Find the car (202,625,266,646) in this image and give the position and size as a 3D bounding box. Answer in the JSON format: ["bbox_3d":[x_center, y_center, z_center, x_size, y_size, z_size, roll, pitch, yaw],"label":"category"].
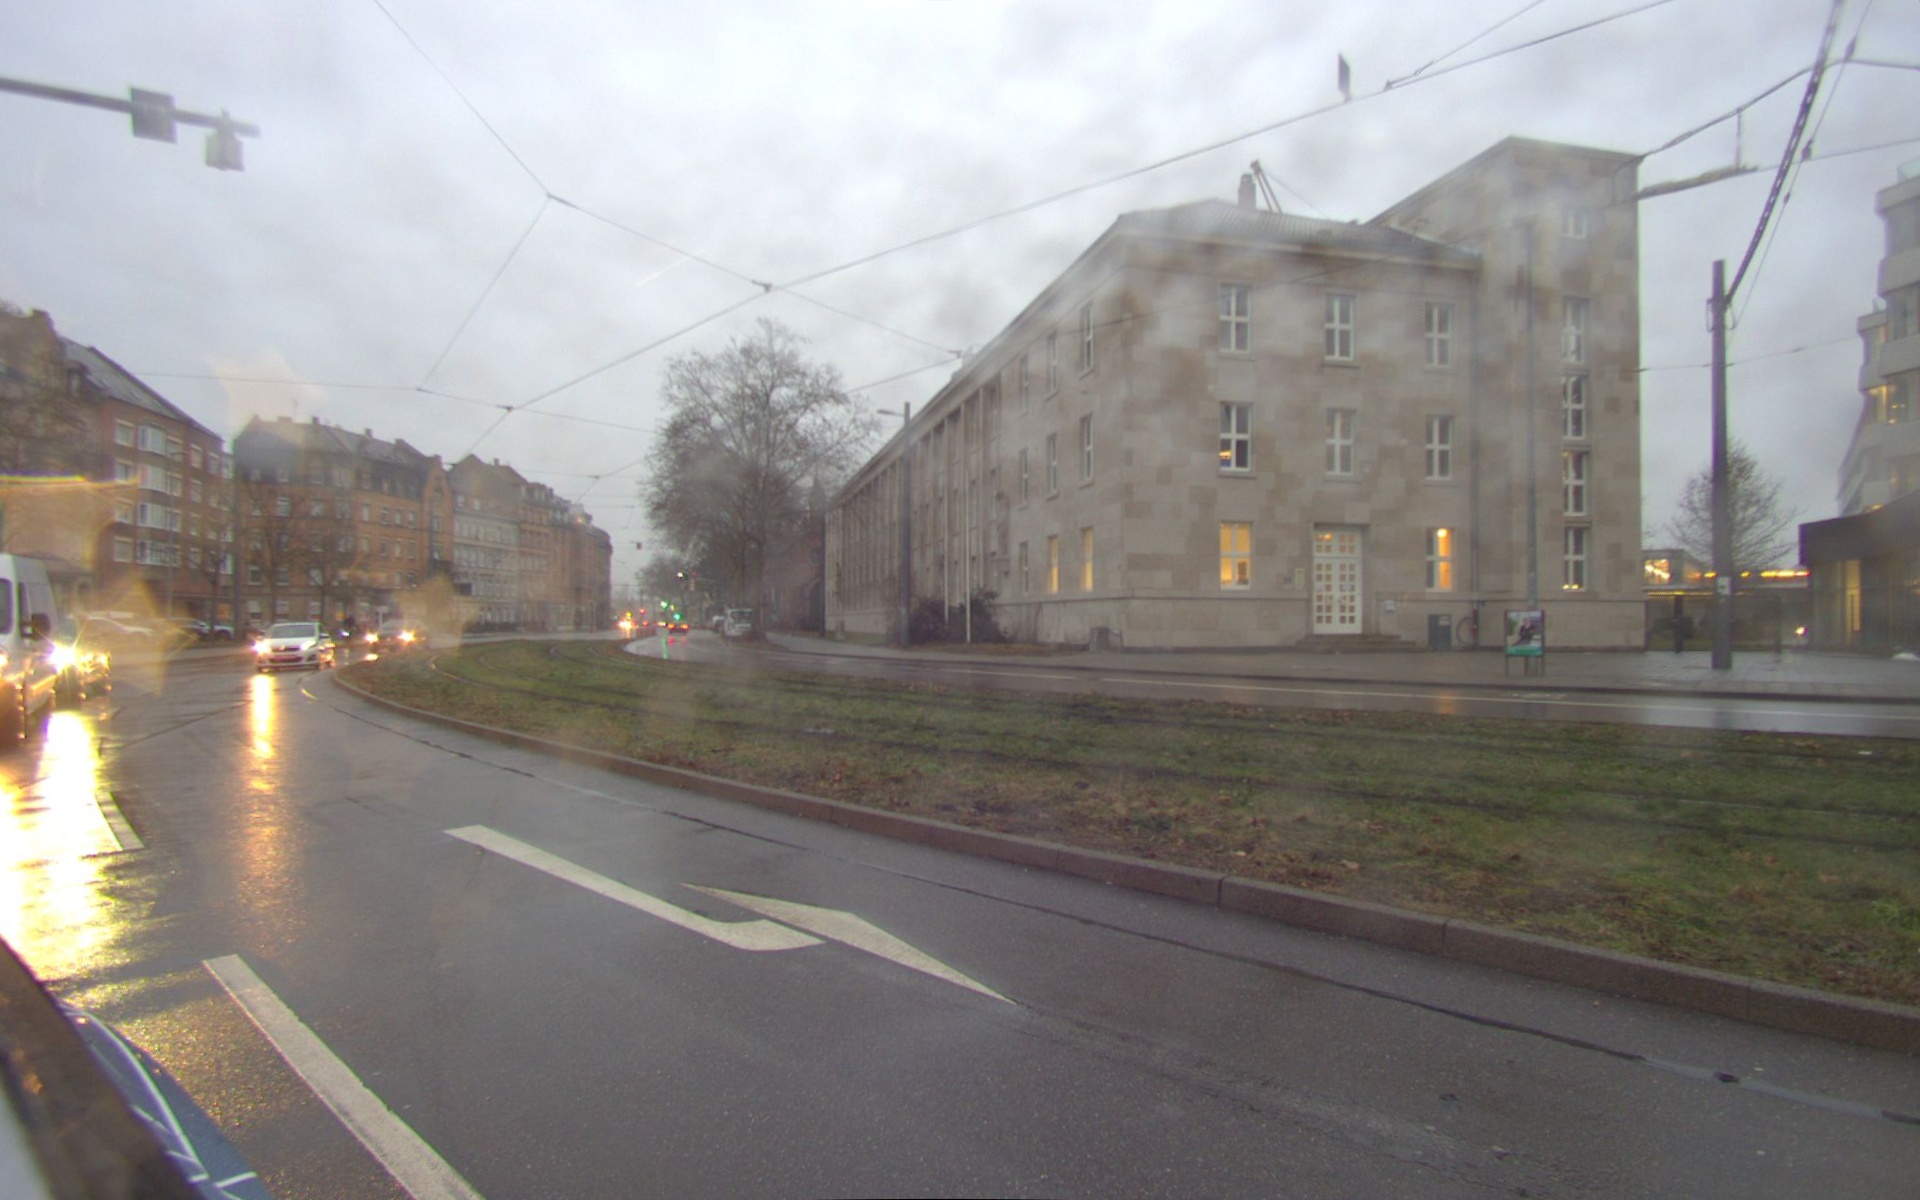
[{"bbox_3d":[-44.336,2.157,61.820,3.134,1.293,1.385,1,-2,-35],"label":"car"}]

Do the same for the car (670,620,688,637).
[{"bbox_3d":[-28.500,2.896,102.614,1.662,1.652,3.657,0,-2,-16],"label":"car"}]

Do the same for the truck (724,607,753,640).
[{"bbox_3d":[-14.301,1.537,65.293,1.808,2.060,4.010,0,-2,-13],"label":"truck"}]

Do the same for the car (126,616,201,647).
[{"bbox_3d":[-43.101,1.682,54.861,3.135,1.636,1.449,1,-2,-37],"label":"car"}]

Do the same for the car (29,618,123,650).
[{"bbox_3d":[-40.888,1.557,46.897,3.135,1.440,1.431,1,-2,-37],"label":"car"}]

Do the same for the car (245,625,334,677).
[{"bbox_3d":[-20.267,1.504,30.704,1.661,1.441,3.357,0,-1,-23],"label":"car"}]

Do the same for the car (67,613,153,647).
[{"bbox_3d":[-41.543,1.450,49.546,3.135,1.636,1.431,1,-2,-37],"label":"car"}]

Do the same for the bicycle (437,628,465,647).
[{"bbox_3d":[-49.701,3.633,98.835,2.410,1.719,0.848,-1,0,-19],"label":"bicycle"}]

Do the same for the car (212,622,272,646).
[{"bbox_3d":[-46.654,2.185,65.792,3.134,1.494,1.385,1,-2,-35],"label":"car"}]

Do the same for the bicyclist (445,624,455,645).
[{"bbox_3d":[-49.809,3.340,98.791,0.766,2.029,0.833,-1,0,-19],"label":"bicyclist"}]

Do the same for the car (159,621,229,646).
[{"bbox_3d":[-43.732,1.904,57.857,3.134,1.424,1.385,1,-2,-35],"label":"car"}]

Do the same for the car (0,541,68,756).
[{"bbox_3d":[-13.505,0.607,13.396,2.207,2.481,5.681,0,-1,-38],"label":"car"}]

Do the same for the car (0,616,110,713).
[{"bbox_3d":[-17.984,1.173,19.700,1.846,1.701,4.181,0,-1,-35],"label":"car"}]

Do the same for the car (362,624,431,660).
[{"bbox_3d":[-25.575,1.884,46.021,1.810,1.545,3.826,0,-2,-14],"label":"car"}]
